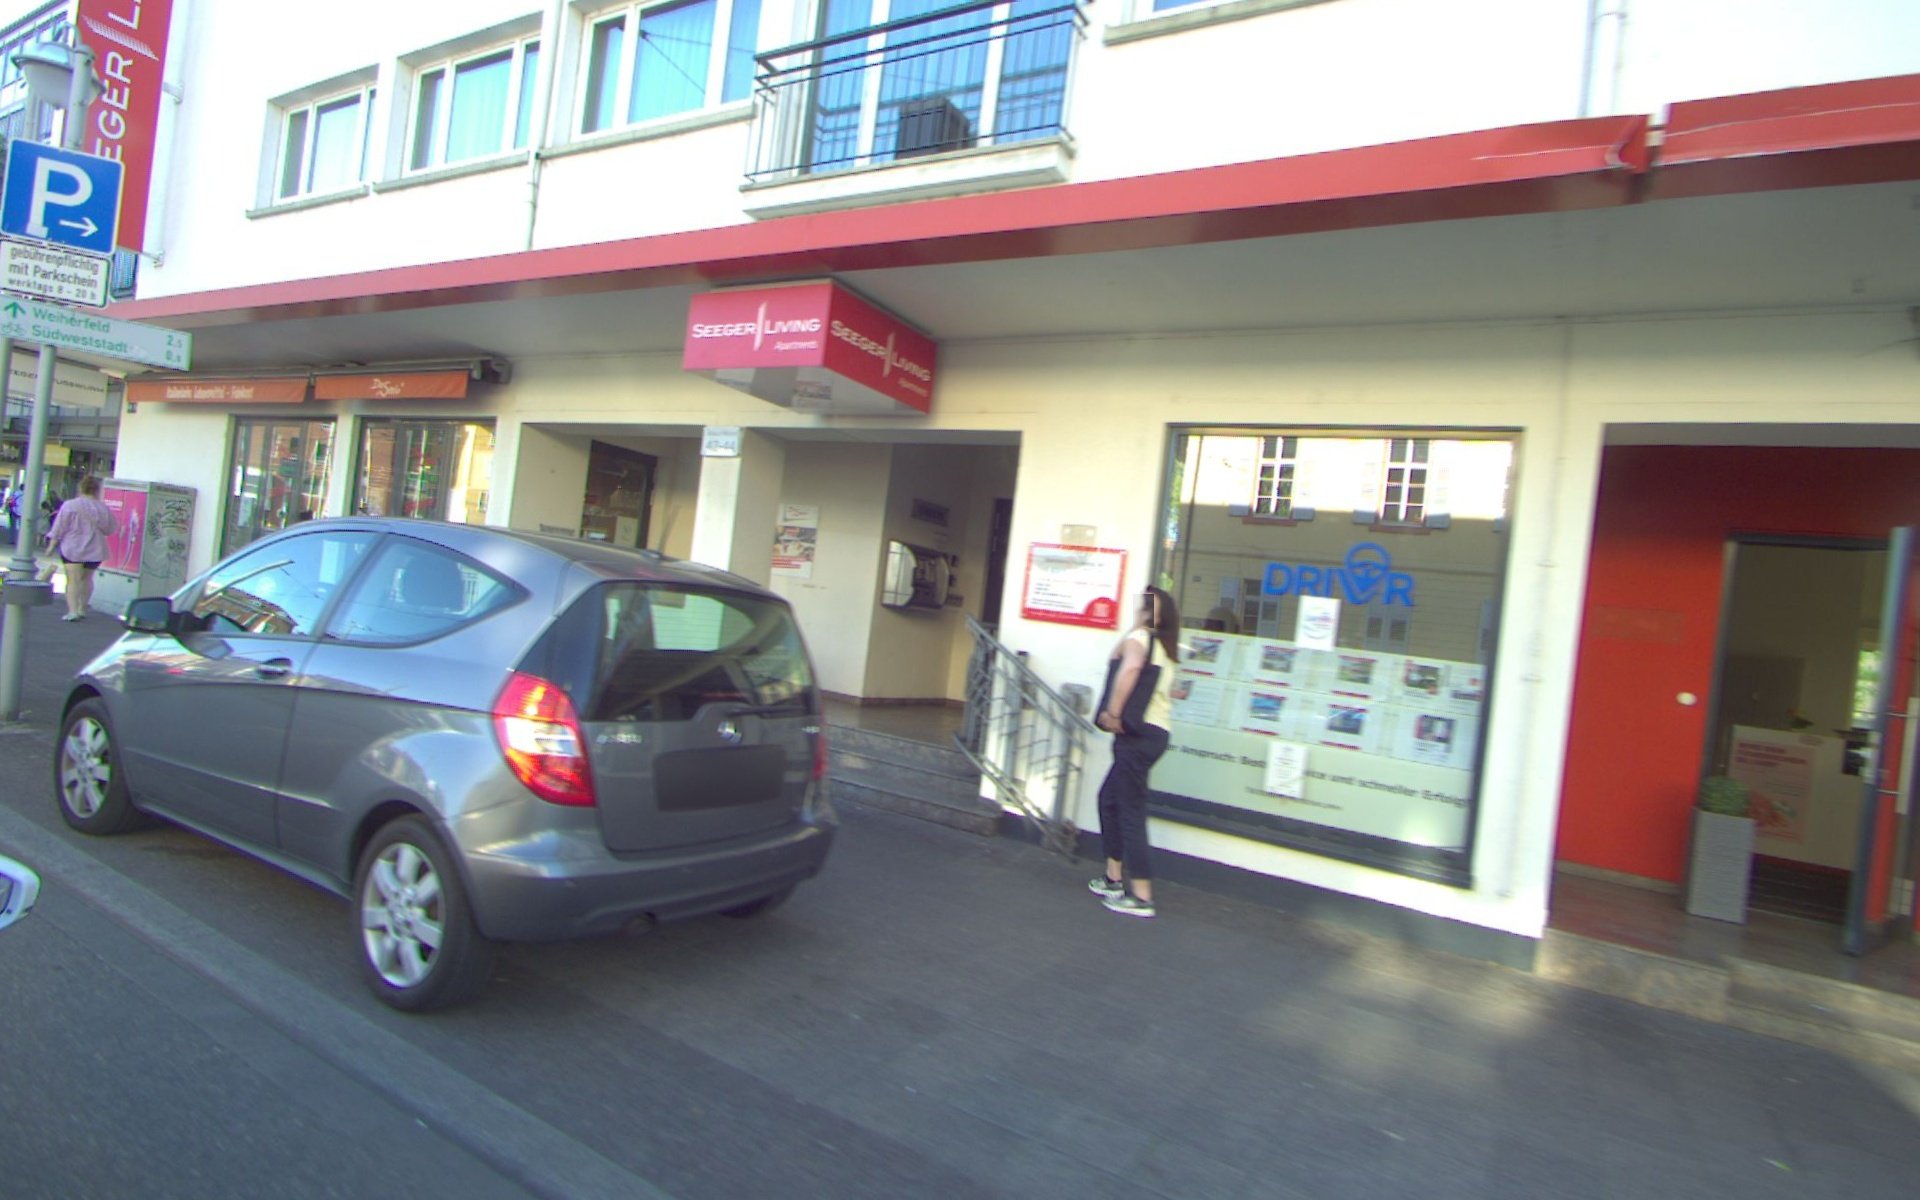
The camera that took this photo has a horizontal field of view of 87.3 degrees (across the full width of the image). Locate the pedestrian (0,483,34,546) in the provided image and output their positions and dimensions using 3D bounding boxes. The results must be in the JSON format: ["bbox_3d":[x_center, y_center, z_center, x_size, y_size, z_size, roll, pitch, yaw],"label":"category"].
[{"bbox_3d":[-26.749,-2.414,28.452,0.459,1.662,0.595,7,1,33],"label":"pedestrian"}]

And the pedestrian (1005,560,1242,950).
[{"bbox_3d":[0.897,0.764,5.367,0.915,1.796,0.806,7,0,21],"label":"pedestrian"}]

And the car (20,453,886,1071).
[{"bbox_3d":[-2.372,0.381,4.524,3.588,1.652,1.747,7,1,32],"label":"car"}]

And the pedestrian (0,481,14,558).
[{"bbox_3d":[-22.452,-1.914,22.933,0.519,1.761,1.009,8,-2,7],"label":"pedestrian"}]

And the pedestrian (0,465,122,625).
[{"bbox_3d":[-10.528,-0.623,11.806,0.813,1.702,0.708,9,-2,-36],"label":"pedestrian"}]

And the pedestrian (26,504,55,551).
[{"bbox_3d":[-26.650,-2.105,29.159,0.522,1.296,0.420,7,0,33],"label":"pedestrian"}]
